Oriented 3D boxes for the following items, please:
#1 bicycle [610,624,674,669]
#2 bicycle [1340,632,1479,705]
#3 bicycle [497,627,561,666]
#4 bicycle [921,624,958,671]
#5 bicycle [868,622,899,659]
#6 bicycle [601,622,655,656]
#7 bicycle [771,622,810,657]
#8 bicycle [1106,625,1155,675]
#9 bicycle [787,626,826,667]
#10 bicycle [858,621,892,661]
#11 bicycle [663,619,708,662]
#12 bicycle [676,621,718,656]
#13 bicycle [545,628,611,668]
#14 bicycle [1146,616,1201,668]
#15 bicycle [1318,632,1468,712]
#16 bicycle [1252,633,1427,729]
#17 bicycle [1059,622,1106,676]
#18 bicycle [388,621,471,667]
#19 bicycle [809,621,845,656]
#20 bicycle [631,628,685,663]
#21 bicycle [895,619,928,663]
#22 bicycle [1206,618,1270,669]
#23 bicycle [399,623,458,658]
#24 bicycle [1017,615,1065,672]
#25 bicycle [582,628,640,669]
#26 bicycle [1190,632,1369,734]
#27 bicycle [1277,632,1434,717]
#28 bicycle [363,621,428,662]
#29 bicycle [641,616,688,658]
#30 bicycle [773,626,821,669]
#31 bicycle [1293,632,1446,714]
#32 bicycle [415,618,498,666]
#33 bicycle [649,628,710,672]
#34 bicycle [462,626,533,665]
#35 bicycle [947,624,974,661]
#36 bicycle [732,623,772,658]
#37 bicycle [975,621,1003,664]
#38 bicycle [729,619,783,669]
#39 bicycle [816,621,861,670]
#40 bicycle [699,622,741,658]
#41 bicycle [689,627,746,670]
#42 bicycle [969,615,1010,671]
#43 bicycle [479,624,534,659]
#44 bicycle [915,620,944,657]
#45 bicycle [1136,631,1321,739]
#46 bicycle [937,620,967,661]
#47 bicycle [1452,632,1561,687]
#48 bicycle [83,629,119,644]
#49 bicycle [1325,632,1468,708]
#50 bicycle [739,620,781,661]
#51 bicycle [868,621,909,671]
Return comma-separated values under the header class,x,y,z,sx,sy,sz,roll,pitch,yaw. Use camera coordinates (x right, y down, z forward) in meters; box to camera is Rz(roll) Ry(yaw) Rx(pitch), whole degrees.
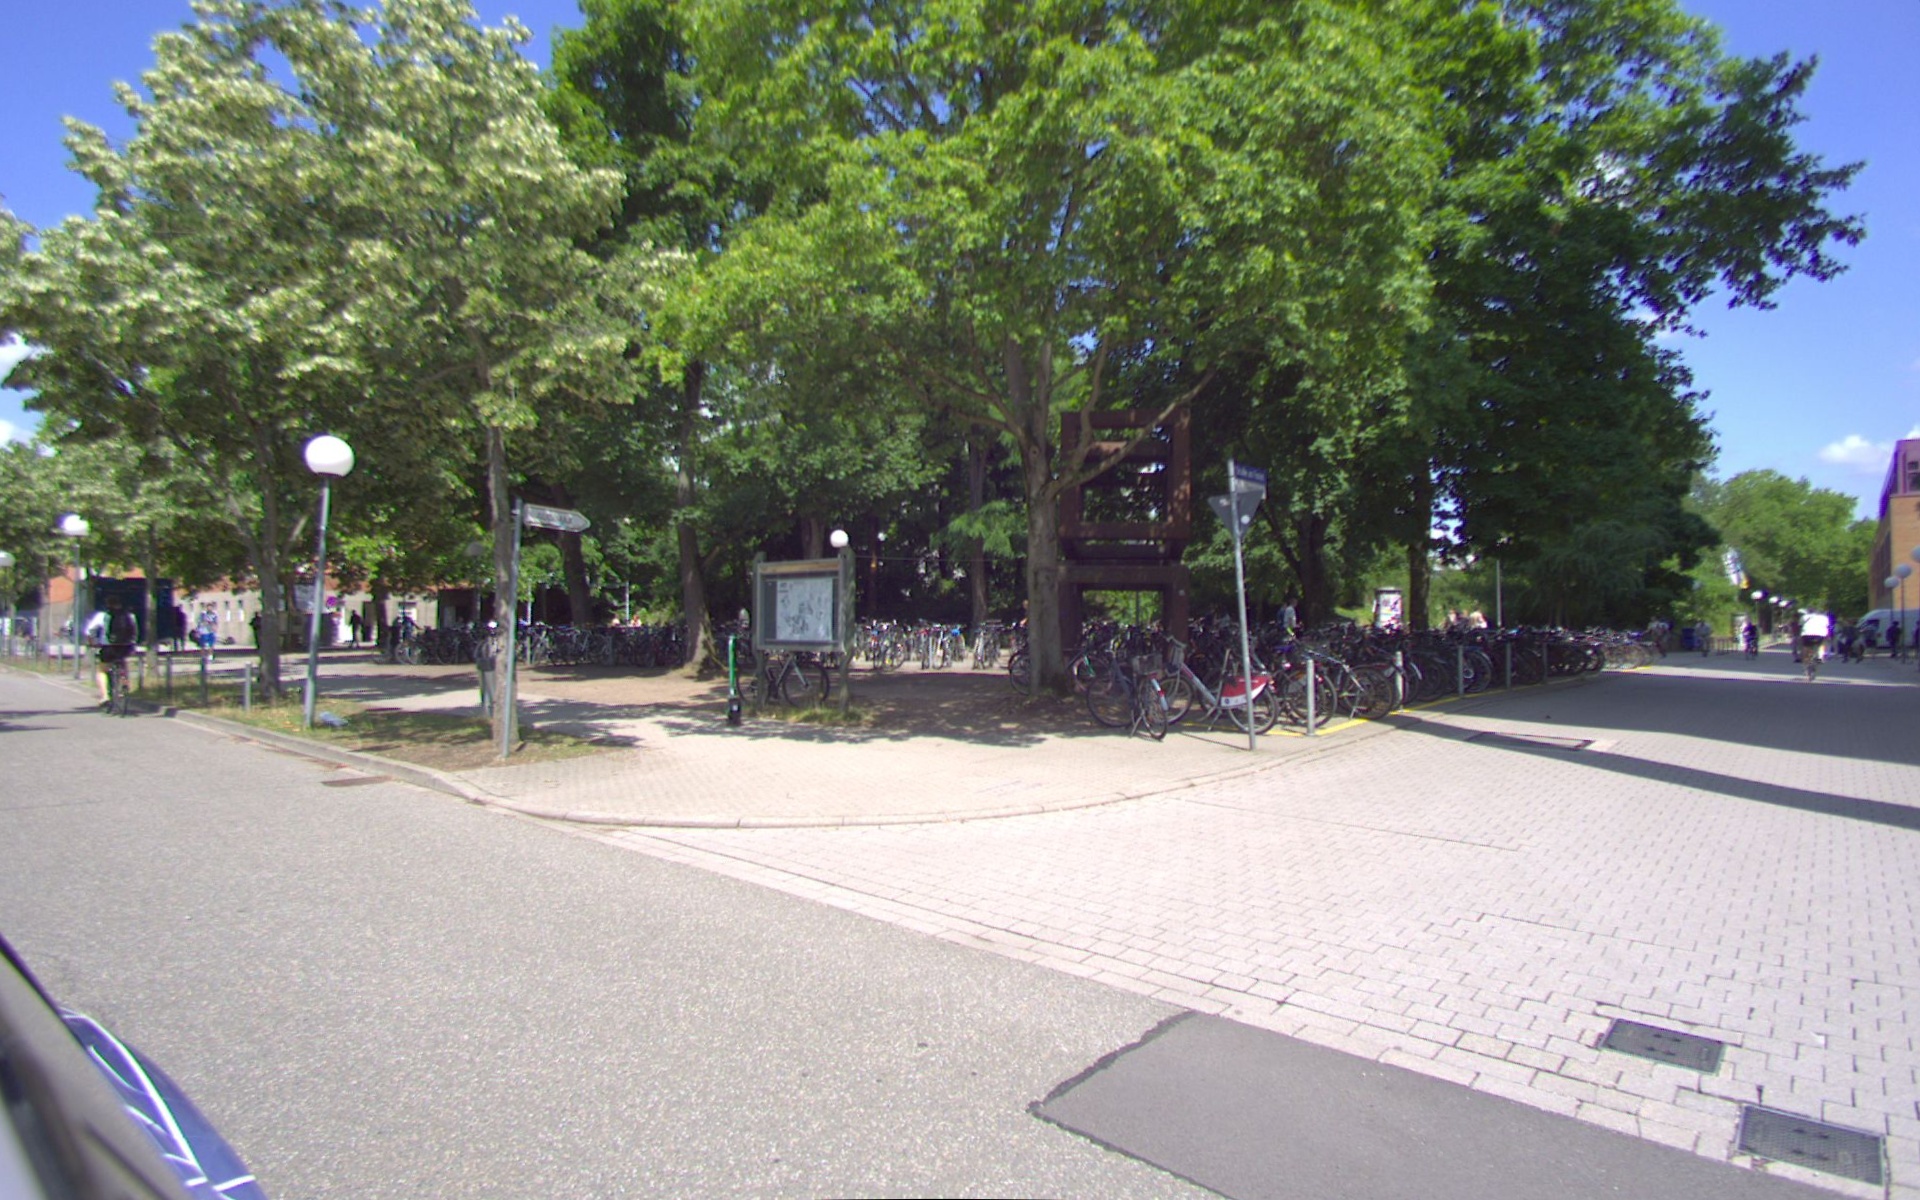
class,x,y,z,sx,sy,sz,roll,pitch,yaw
bicycle,-8.352,1.200,26.711,0.870,1.094,2.752,-1,-1,-1
bicycle,7.250,1.077,16.381,1.972,1.095,0.546,-1,0,42
bicycle,-11.777,1.256,27.704,0.671,1.016,1.885,-1,-1,11
bicycle,-0.520,1.149,25.365,0.870,1.084,2.684,-1,-1,-1
bicycle,-2.455,1.301,32.721,0.632,1.141,2.056,-1,-1,6
bicycle,-11.177,1.292,34.138,0.544,1.097,1.951,-1,-1,24
bicycle,-5.510,1.275,33.004,0.541,1.097,1.960,-1,-1,12
bicycle,4.303,1.245,25.766,0.732,1.076,2.764,-1,1,-1
bicycle,-4.579,1.378,30.283,0.632,1.141,2.056,-1,-1,6
bicycle,-2.521,1.196,30.216,0.632,1.141,2.056,-1,-1,6
bicycle,-8.411,1.223,31.108,0.632,1.244,2.056,-1,0,6
bicycle,-8.786,1.281,33.904,0.541,1.097,1.960,-1,-1,12
bicycle,-10.426,1.285,27.696,0.670,1.016,2.146,-1,-1,11
bicycle,5.372,1.053,25.677,0.732,1.242,2.838,0,-2,-1
bicycle,6.418,1.042,15.075,1.972,1.095,0.546,-1,0,42
bicycle,4.705,0.973,12.656,1.972,1.095,0.546,-1,0,42
bicycle,2.989,1.177,25.008,0.732,1.134,2.962,-1,1,-1
bicycle,-15.034,1.224,28.751,0.804,1.244,2.044,-1,-1,24
bicycle,-4.338,1.251,33.055,0.541,1.097,1.960,-1,-1,12
bicycle,-9.947,1.484,33.417,0.544,1.097,1.951,-1,-1,24
bicycle,-1.428,1.199,30.003,0.632,1.141,2.057,-1,1,6
bicycle,6.877,1.047,25.194,0.732,1.165,2.912,-1,-1,-1
bicycle,-17.525,1.326,33.406,0.543,1.097,1.848,-1,-1,20
bicycle,1.965,1.036,25.134,0.870,1.306,3.083,-1,-1,-1
bicycle,-9.238,1.258,26.916,0.668,1.016,2.651,-1,-1,-1
bicycle,3.758,0.941,12.027,1.972,1.095,0.546,-1,0,42
bicycle,5.522,1.009,14.203,1.972,1.095,0.546,-1,0,42
bicycle,-16.455,1.205,29.546,0.456,1.140,1.765,-1,-1,24
bicycle,-9.098,1.127,31.256,0.632,1.244,2.056,-1,-1,6
bicycle,-4.197,1.202,26.293,0.870,1.010,2.734,-1,-1,-1
bicycle,5.898,1.024,14.674,1.972,1.095,0.546,-1,0,42
bicycle,-14.062,1.160,28.342,0.804,1.244,2.044,-1,0,24
bicycle,-7.321,1.276,26.579,0.870,1.058,2.834,-1,-1,-1
bicycle,-12.838,1.252,28.140,0.671,1.016,2.146,-1,-1,11
bicycle,0.017,1.341,32.564,0.632,1.141,2.056,-1,-1,6
bicycle,-6.759,1.300,32.967,0.541,1.097,1.960,-1,-1,12
bicycle,0.845,1.208,29.485,0.632,1.141,2.057,-1,0,6
bicycle,-5.315,1.115,26.522,0.870,1.230,2.909,-1,-1,-1
bicycle,-3.105,1.135,26.211,0.870,1.187,2.884,-1,-1,-1
bicycle,-7.818,1.288,33.071,0.541,1.097,1.960,-1,-1,12
bicycle,-6.315,1.237,26.549,0.870,1.022,2.784,-1,-1,-1
bicycle,0.708,1.043,25.325,0.870,1.296,2.934,-1,-1,-1
bicycle,-14.964,1.366,33.451,0.543,1.097,1.848,-1,-1,20
bicycle,-0.974,1.224,32.556,0.632,1.141,2.056,-1,-1,6
bicycle,2.993,0.914,11.448,1.972,1.095,0.546,-1,0,42
bicycle,-0.208,1.181,29.843,0.632,1.141,2.056,-1,-1,6
bicycle,11.654,1.247,21.633,1.972,1.095,0.546,-1,0,42
bicycle,-64.818,2.735,76.350,0.663,1.069,2.001,-2,-2,40
bicycle,6.802,1.060,15.851,1.972,1.095,0.546,-1,0,42
bicycle,-6.008,1.199,30.512,0.632,1.167,2.056,-1,-1,6
bicycle,-1.774,1.120,25.419,0.870,1.188,2.709,-1,-1,-1
